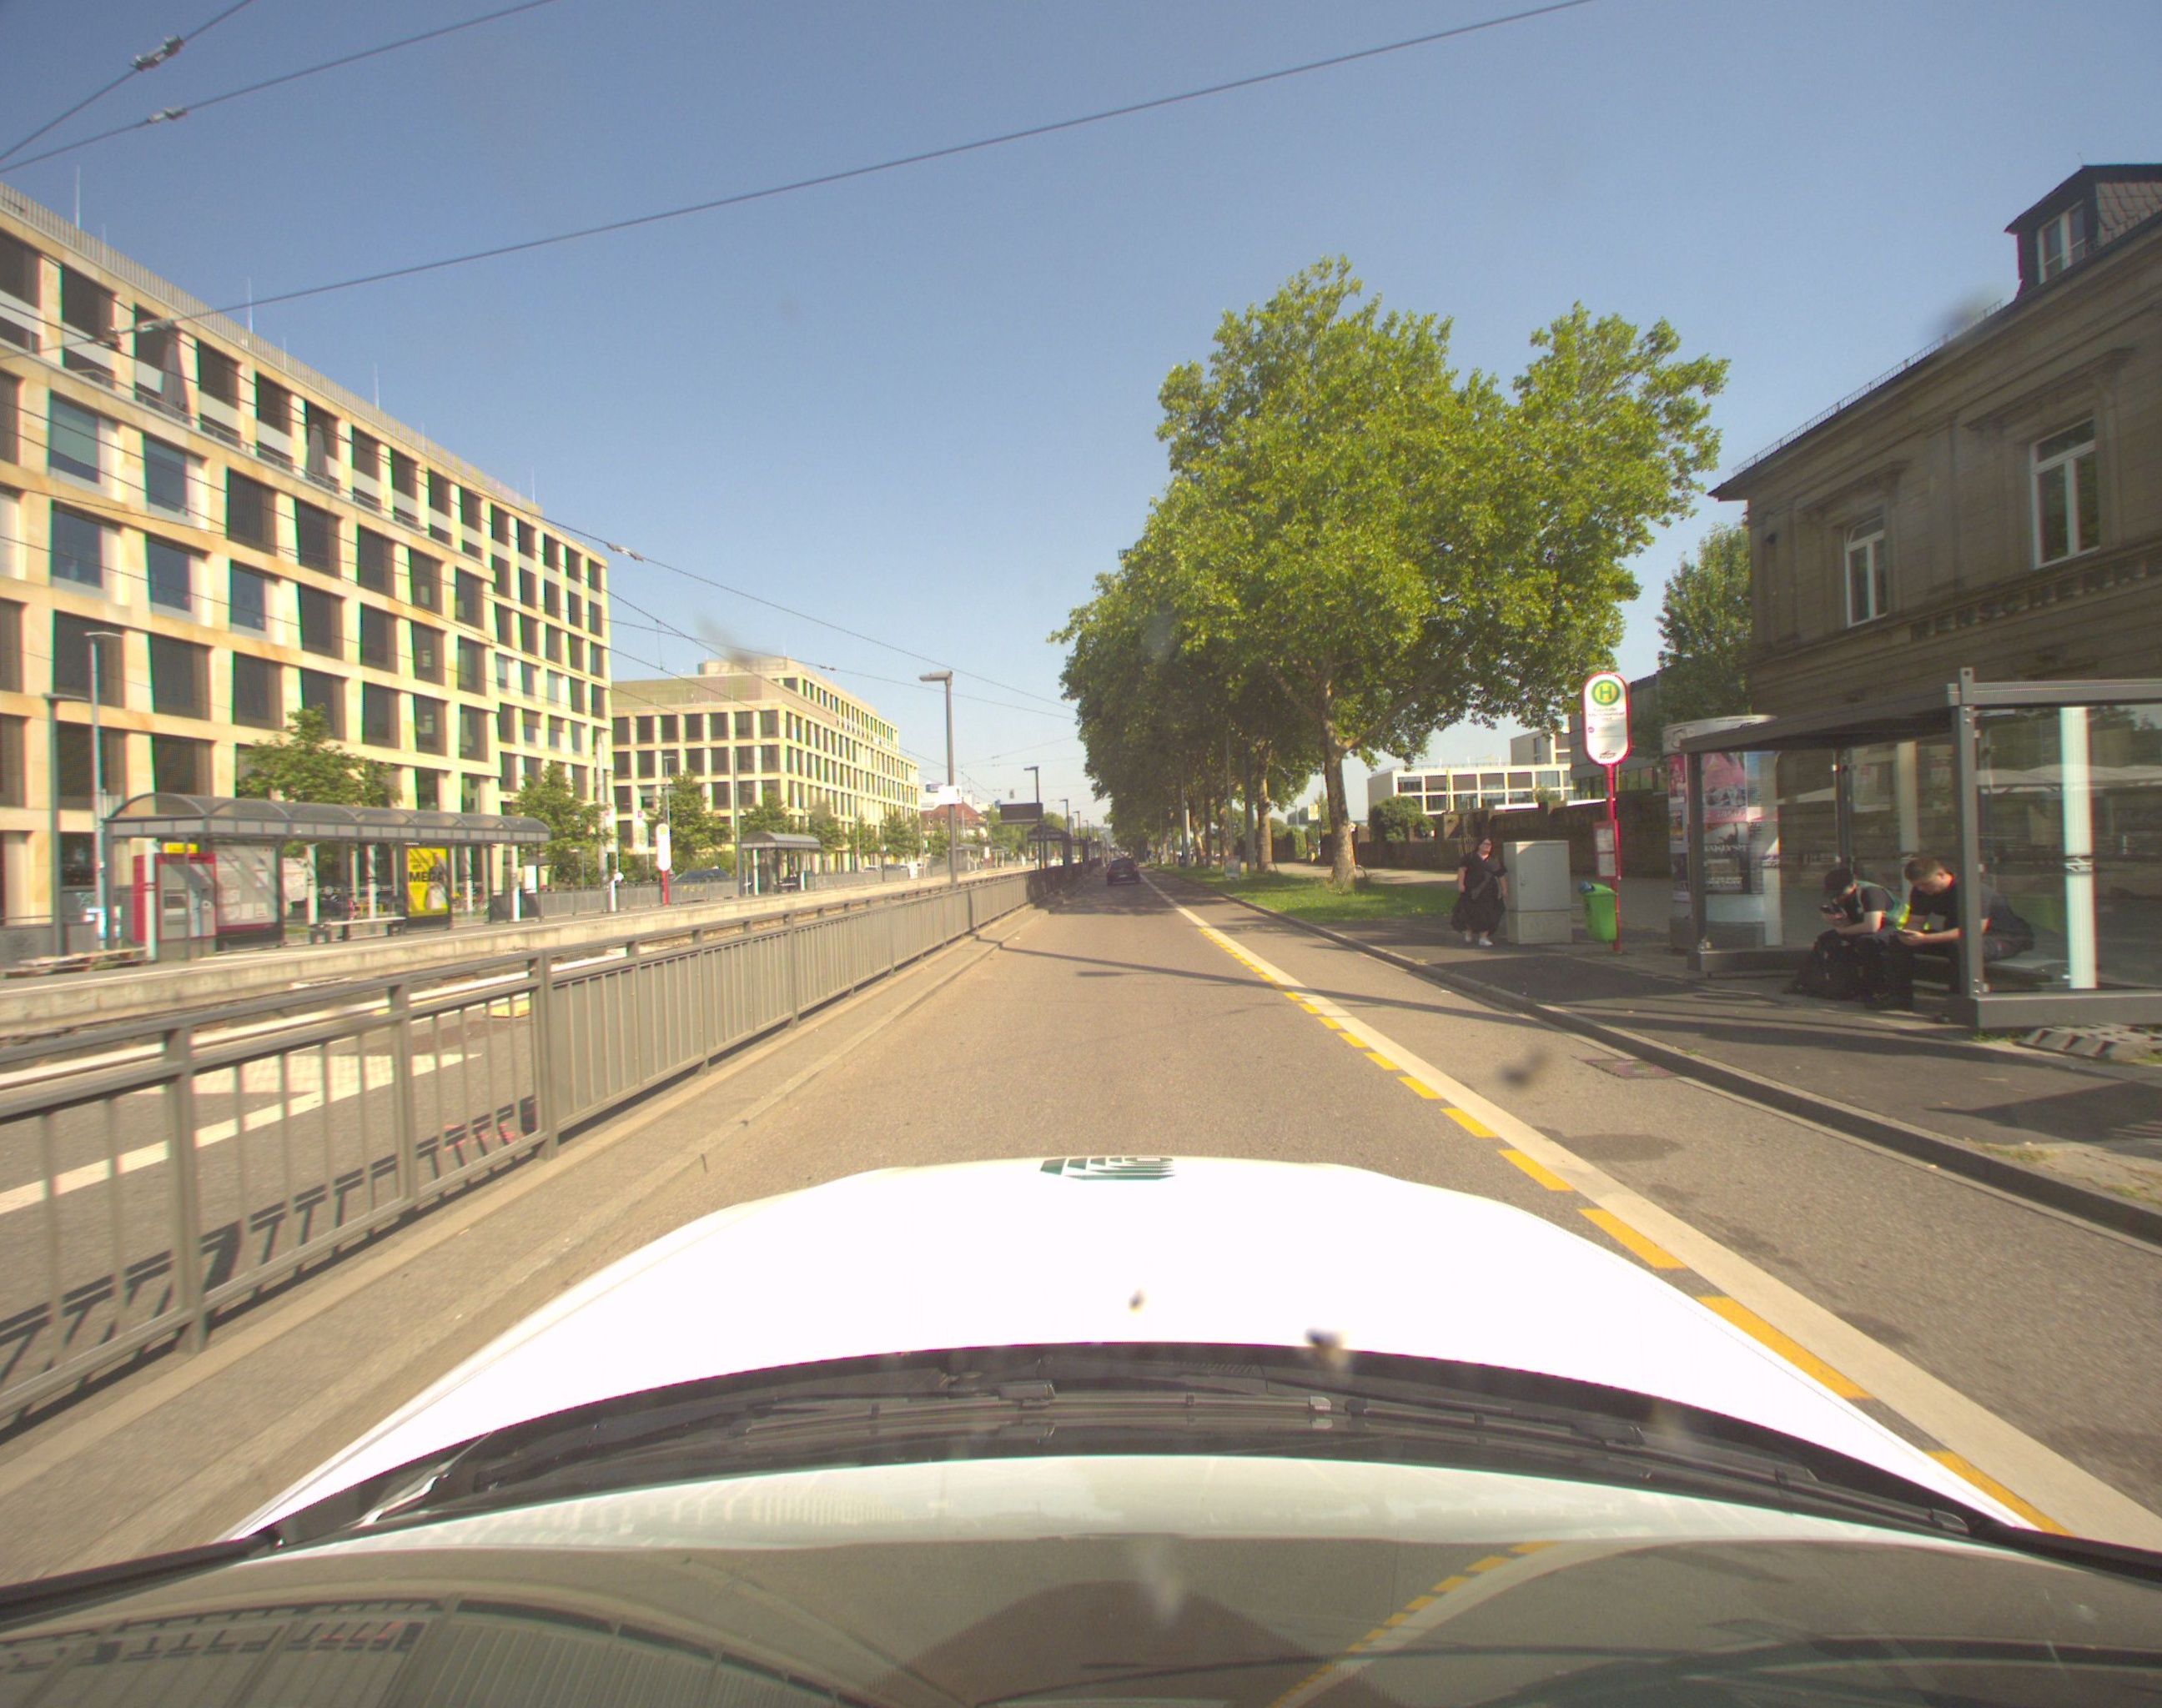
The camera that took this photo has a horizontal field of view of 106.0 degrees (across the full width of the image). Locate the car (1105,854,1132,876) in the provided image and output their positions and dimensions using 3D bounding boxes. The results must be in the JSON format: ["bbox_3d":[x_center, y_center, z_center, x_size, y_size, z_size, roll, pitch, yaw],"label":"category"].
[{"bbox_3d":[2.960,0.889,64.958,1.966,1.537,4.002,-6,-1,2],"label":"car"}]

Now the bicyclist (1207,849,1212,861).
[{"bbox_3d":[15.379,0.152,97.412,0.546,1.453,0.842,-2,0,3],"label":"bicyclist"}]

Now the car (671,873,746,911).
[{"bbox_3d":[-17.844,1.795,39.184,1.655,1.571,3.762,-3,0,3],"label":"car"}]

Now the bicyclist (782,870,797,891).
[{"bbox_3d":[-19.963,1.826,55.779,0.627,1.402,0.784,-5,-2,2],"label":"bicyclist"}]

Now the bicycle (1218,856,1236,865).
[{"bbox_3d":[18.707,0.881,104.116,2.166,1.076,0.743,-3,-1,1],"label":"bicycle"}]

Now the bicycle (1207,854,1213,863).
[{"bbox_3d":[15.401,0.556,97.412,0.546,1.007,1.715,-2,0,3],"label":"bicycle"}]

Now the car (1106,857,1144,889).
[{"bbox_3d":[2.367,0.987,44.391,1.900,1.537,4.002,-4,-1,2],"label":"car"}]

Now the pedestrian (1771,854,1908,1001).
[{"bbox_3d":[6.731,0.627,7.255,0.606,1.218,0.574,-4,-1,0],"label":"pedestrian"}]

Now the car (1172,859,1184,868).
[{"bbox_3d":[17.099,1.643,143.389,1.721,1.448,4.554,-4,-1,3],"label":"car"}]

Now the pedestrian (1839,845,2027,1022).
[{"bbox_3d":[6.681,0.591,6.428,0.606,1.277,0.759,-4,-1,0],"label":"pedestrian"}]

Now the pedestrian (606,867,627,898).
[{"bbox_3d":[-30.089,1.864,52.753,0.791,1.917,0.837,-5,-2,-4],"label":"pedestrian"}]

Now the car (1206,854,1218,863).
[{"bbox_3d":[23.198,0.831,144.347,1.601,1.575,3.799,-4,-1,3],"label":"car"}]

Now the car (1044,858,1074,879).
[{"bbox_3d":[-1.732,1.145,65.111,1.985,1.559,4.003,-2,0,3],"label":"car"}]

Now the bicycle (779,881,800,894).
[{"bbox_3d":[-19.920,2.311,55.715,0.627,0.822,1.898,-5,-2,2],"label":"bicycle"}]

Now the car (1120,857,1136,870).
[{"bbox_3d":[5.914,1.146,102.758,1.900,1.537,4.002,-3,0,2],"label":"car"}]

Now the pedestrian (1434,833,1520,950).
[{"bbox_3d":[5.759,0.532,11.897,0.876,1.626,0.825,-2,0,8],"label":"pedestrian"}]

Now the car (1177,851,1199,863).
[{"bbox_3d":[20.615,0.573,156.617,4.083,1.918,1.850,-4,-1,5],"label":"car"}]

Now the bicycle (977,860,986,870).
[{"bbox_3d":[-12.331,1.371,100.875,0.467,1.147,1.490,-2,-1,18],"label":"bicycle"}]

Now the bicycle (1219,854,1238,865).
[{"bbox_3d":[19.665,0.689,108.616,2.235,1.277,0.999,-5,-2,2],"label":"bicycle"}]
